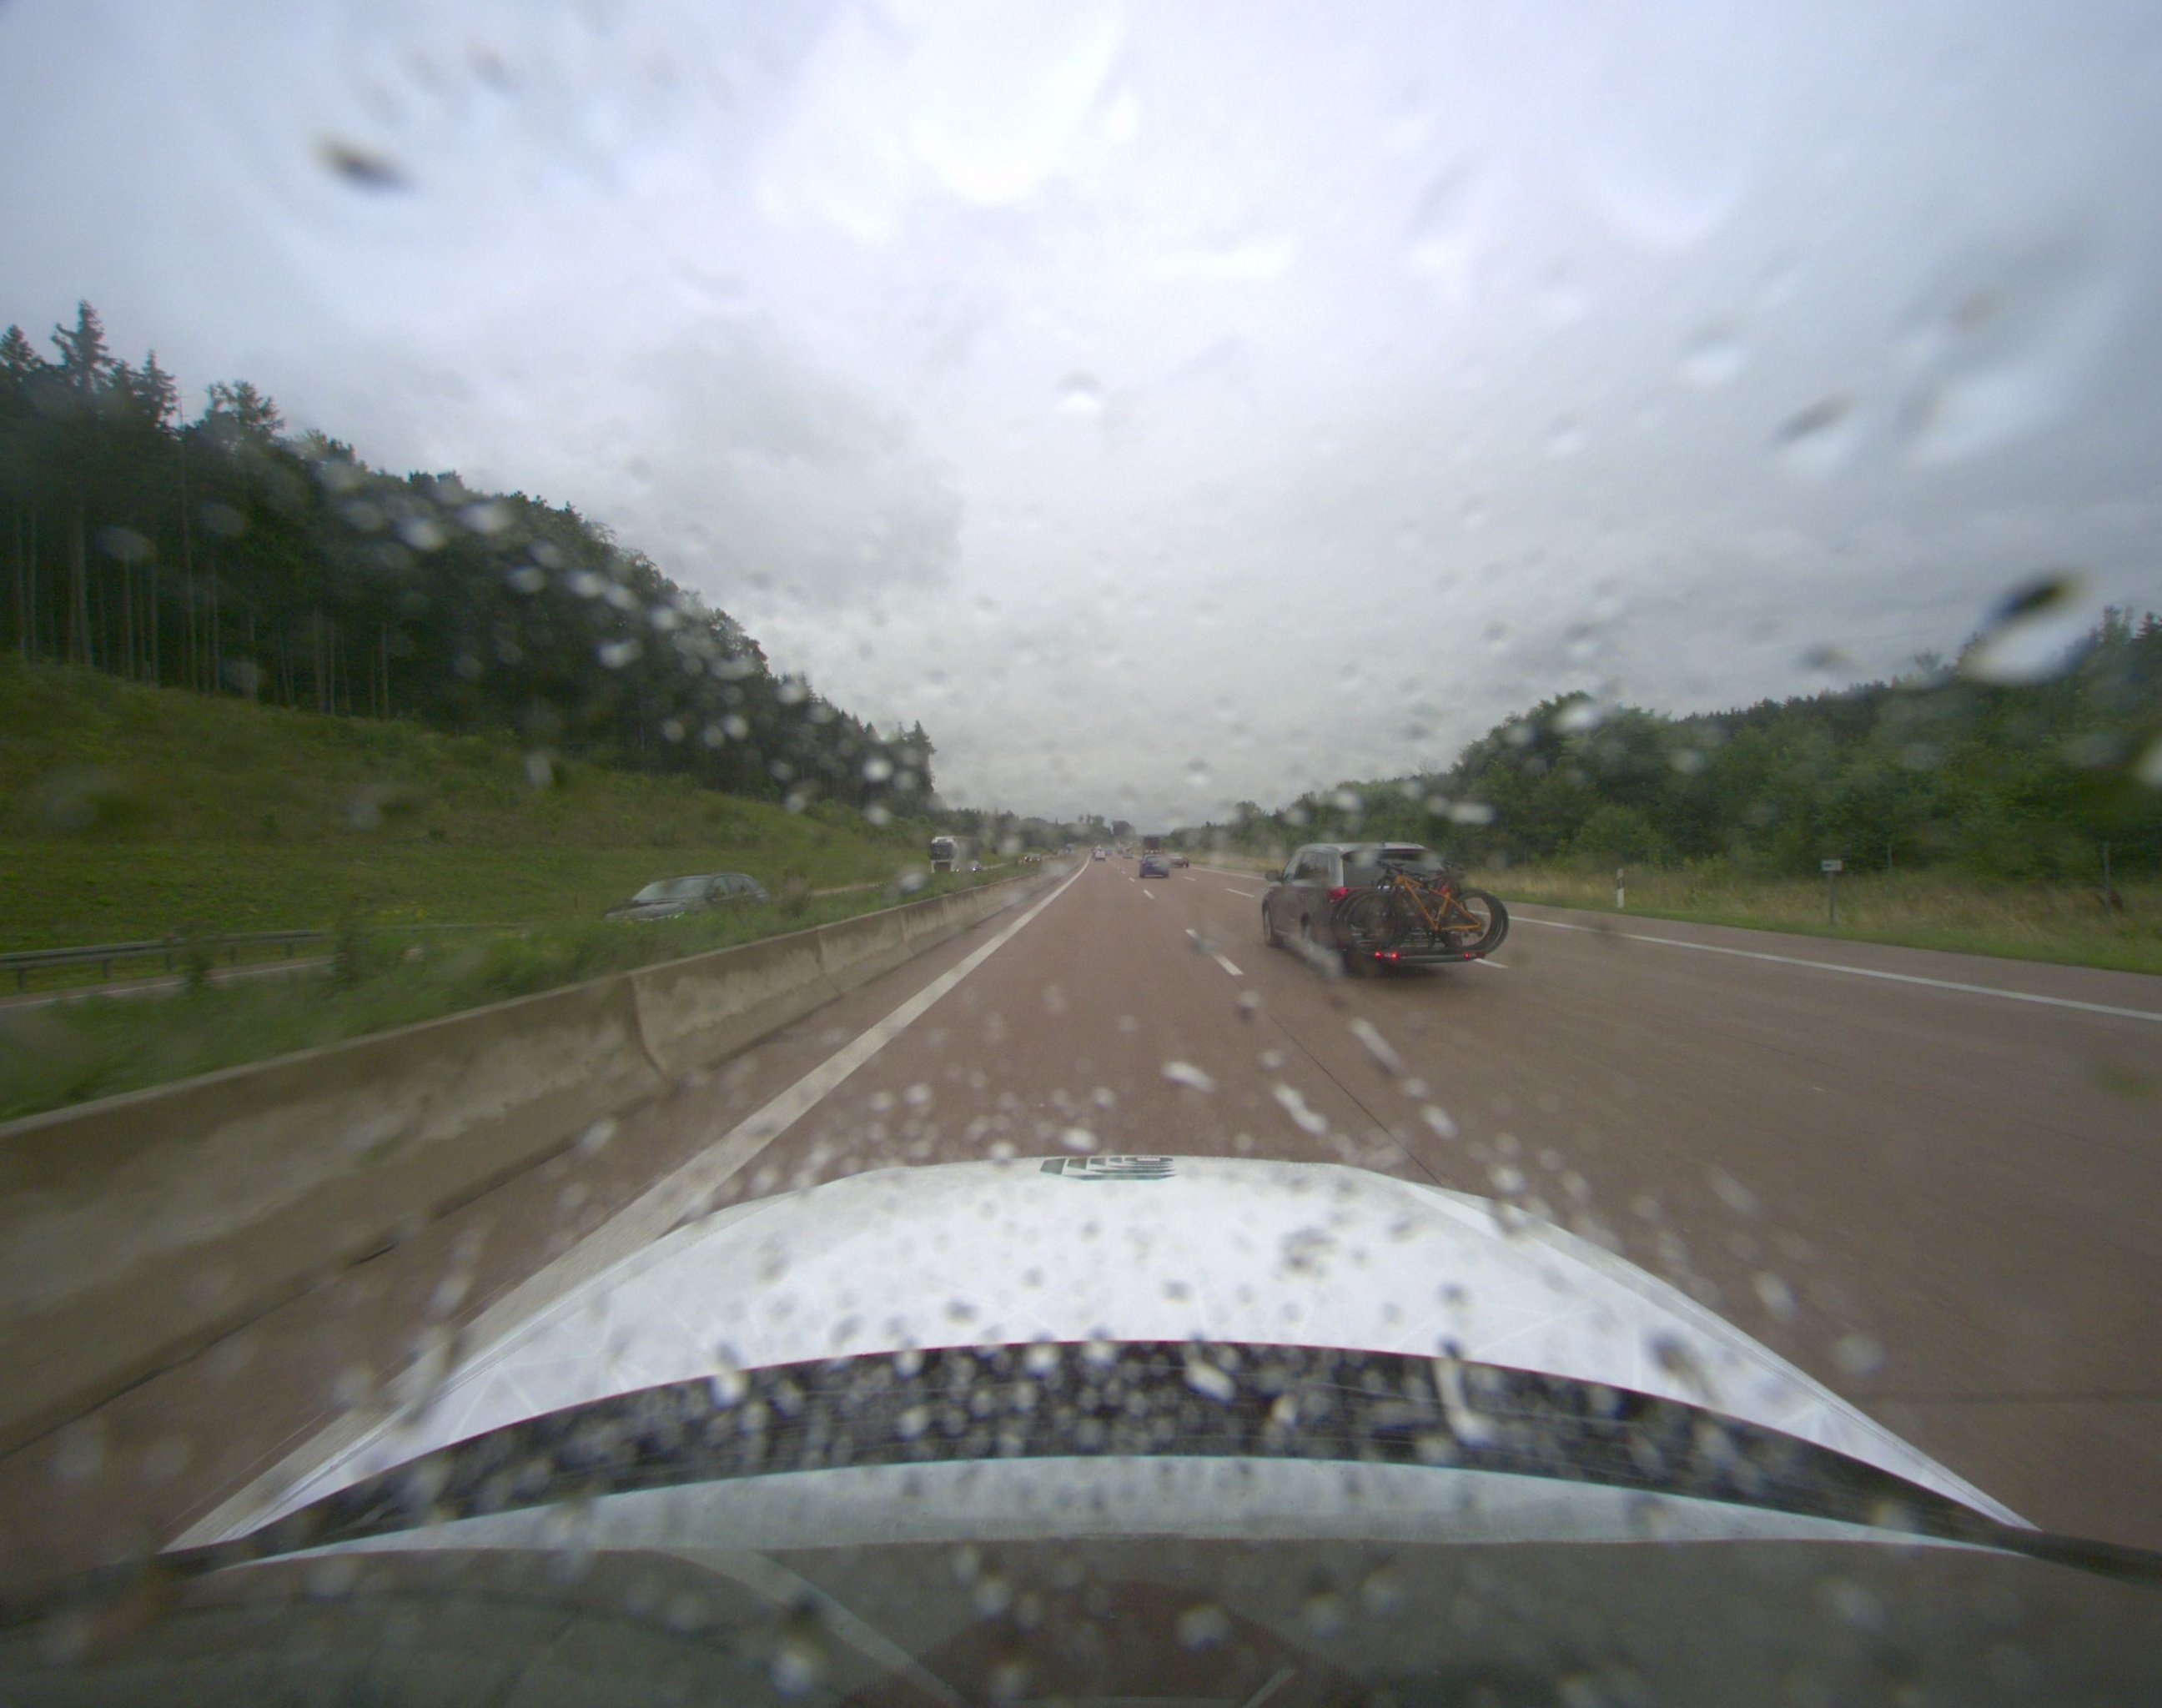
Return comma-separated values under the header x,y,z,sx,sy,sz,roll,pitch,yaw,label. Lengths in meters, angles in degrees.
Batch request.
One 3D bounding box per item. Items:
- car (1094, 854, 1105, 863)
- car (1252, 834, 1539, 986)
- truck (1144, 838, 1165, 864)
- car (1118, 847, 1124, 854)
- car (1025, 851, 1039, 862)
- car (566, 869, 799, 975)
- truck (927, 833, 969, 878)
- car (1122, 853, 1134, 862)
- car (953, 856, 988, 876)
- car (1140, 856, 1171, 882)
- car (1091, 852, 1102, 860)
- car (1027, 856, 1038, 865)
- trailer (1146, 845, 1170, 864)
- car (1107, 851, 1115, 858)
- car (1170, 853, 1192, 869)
x,y,z,sx,sy,sz,roll,pitch,yaw,label
3.333,0.807,144.941,1.867,1.444,4.879,0,-1,2,car
3.933,0.615,11.524,1.986,1.592,5.823,0,-1,2,car
11.460,-0.391,127.777,2.886,3.964,6.991,0,-1,2,truck
12.812,-1.024,259.584,1.986,2.014,4.001,0,-1,2,car
-8.417,0.430,140.473,1.986,1.767,5.097,-1,1,2,car
-7.836,1.225,16.775,2.041,1.776,5.326,0,-1,2,car
-13.546,0.183,83.424,2.913,4.390,7.405,0,-1,1,truck
9.742,0.694,168.020,2.313,1.750,4.879,0,-1,2,car
-9.694,1.035,71.938,2.041,1.693,6.385,0,-1,2,car
4.754,0.943,52.320,1.764,1.564,4.148,0,-1,2,car
3.455,0.374,182.997,2.313,1.750,4.879,0,-1,2,car
-10.590,1.455,178.020,1.987,2.014,5.674,-1,-1,1,car
11.245,0.069,120.370,2.870,2.675,11.403,0,-1,2,trailer
8.114,0.201,220.813,2.313,1.750,4.879,0,-1,2,car
10.382,0.739,84.617,1.692,1.611,4.978,-1,0,1,car
